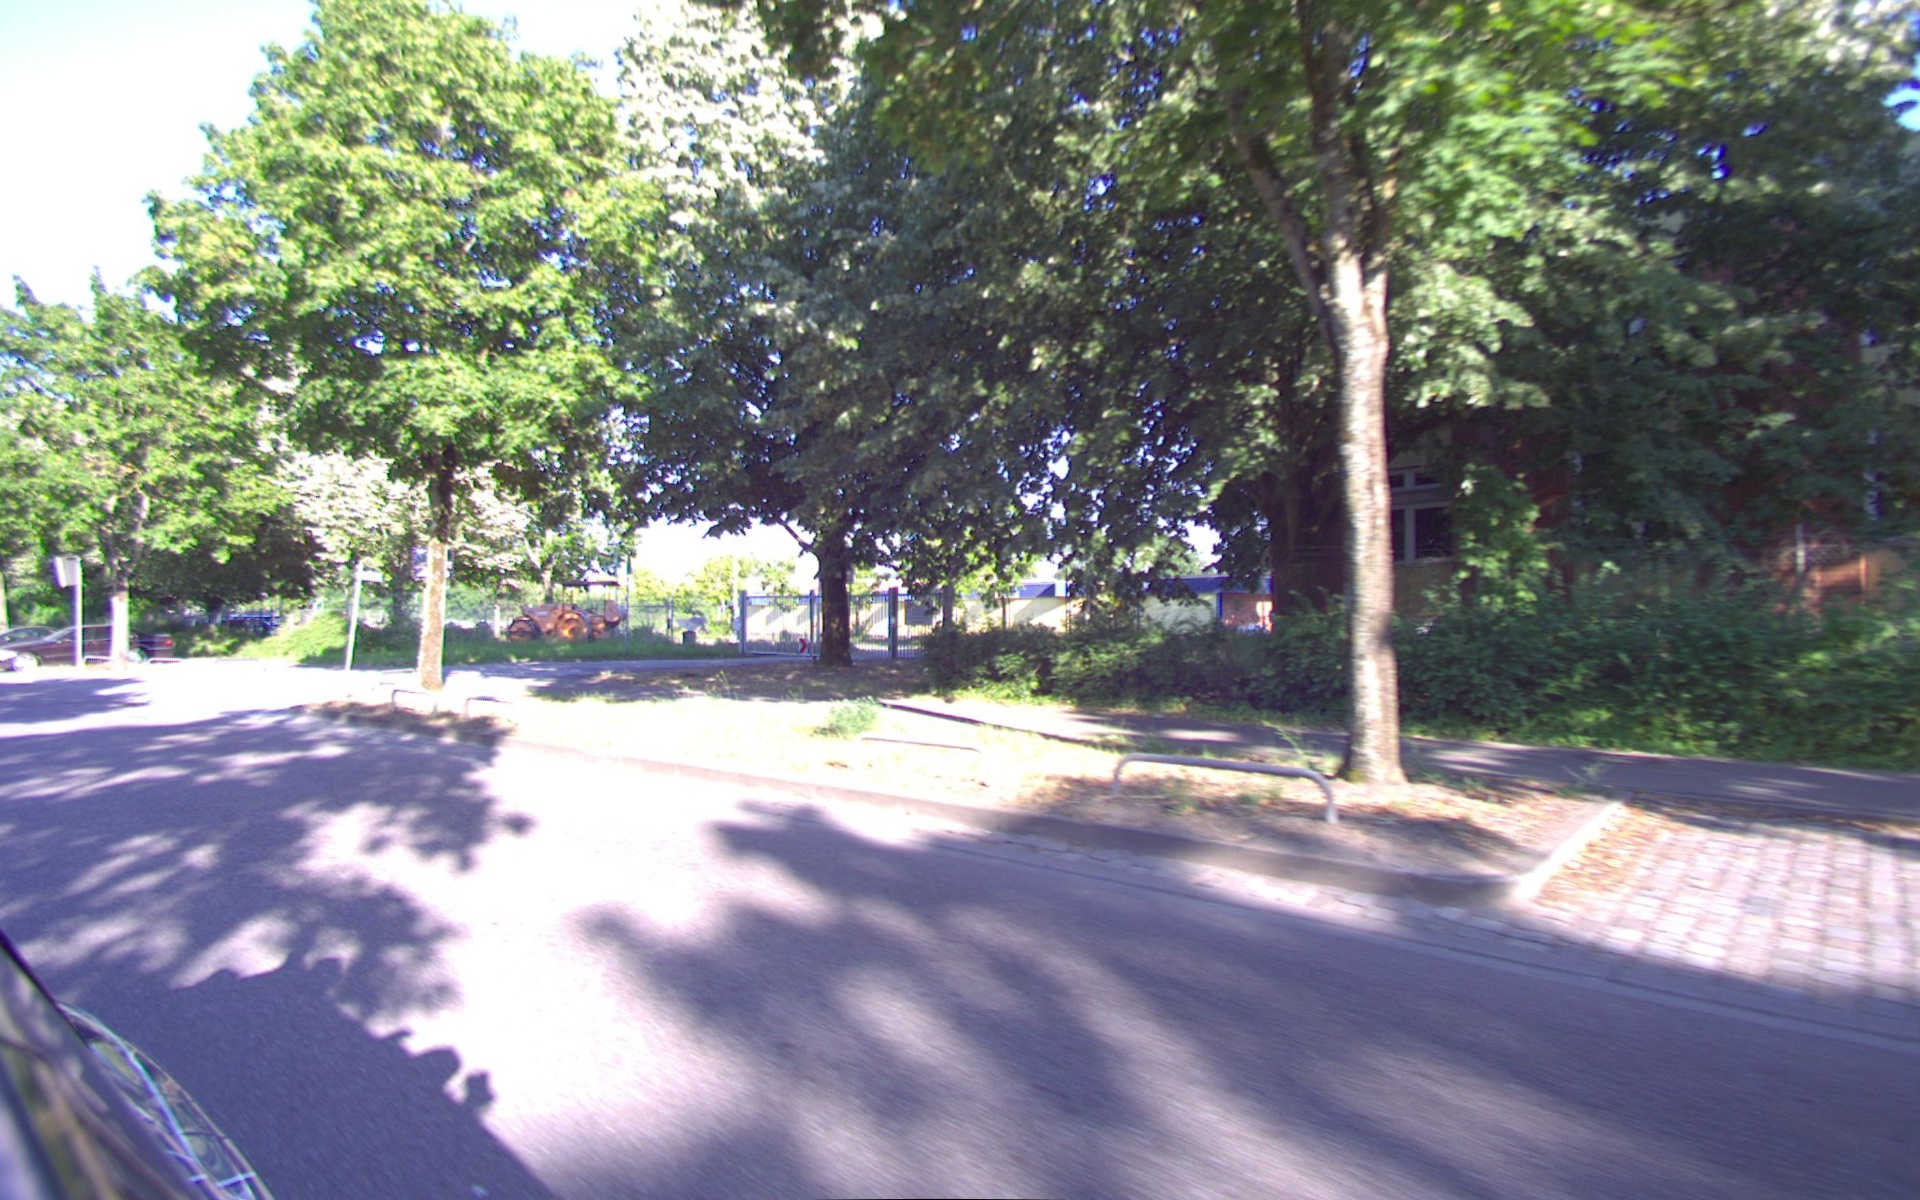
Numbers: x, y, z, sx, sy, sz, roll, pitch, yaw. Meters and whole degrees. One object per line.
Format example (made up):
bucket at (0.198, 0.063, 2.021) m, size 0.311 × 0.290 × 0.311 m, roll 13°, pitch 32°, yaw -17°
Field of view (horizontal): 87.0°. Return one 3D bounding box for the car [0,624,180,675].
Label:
car at (-29.716, 1.626, 34.188) m, size 1.995 × 1.473 × 4.991 m, roll -1°, pitch 0°, yaw 35°

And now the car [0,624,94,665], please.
car at (-37.638, 1.780, 40.310) m, size 1.995 × 1.473 × 4.441 m, roll -1°, pitch 0°, yaw 35°

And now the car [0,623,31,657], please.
car at (-45.873, 1.911, 46.143) m, size 1.993 × 1.542 × 4.813 m, roll -1°, pitch 0°, yaw 32°

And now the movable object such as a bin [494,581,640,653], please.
movable object such as a bin at (-14.880, 0.657, 38.524) m, size 4.737 × 2.685 × 2.164 m, roll 0°, pitch -2°, yaw 0°

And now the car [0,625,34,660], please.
car at (-43.952, 1.925, 44.531) m, size 1.995 × 1.542 × 4.441 m, roll -1°, pitch 0°, yaw 35°
